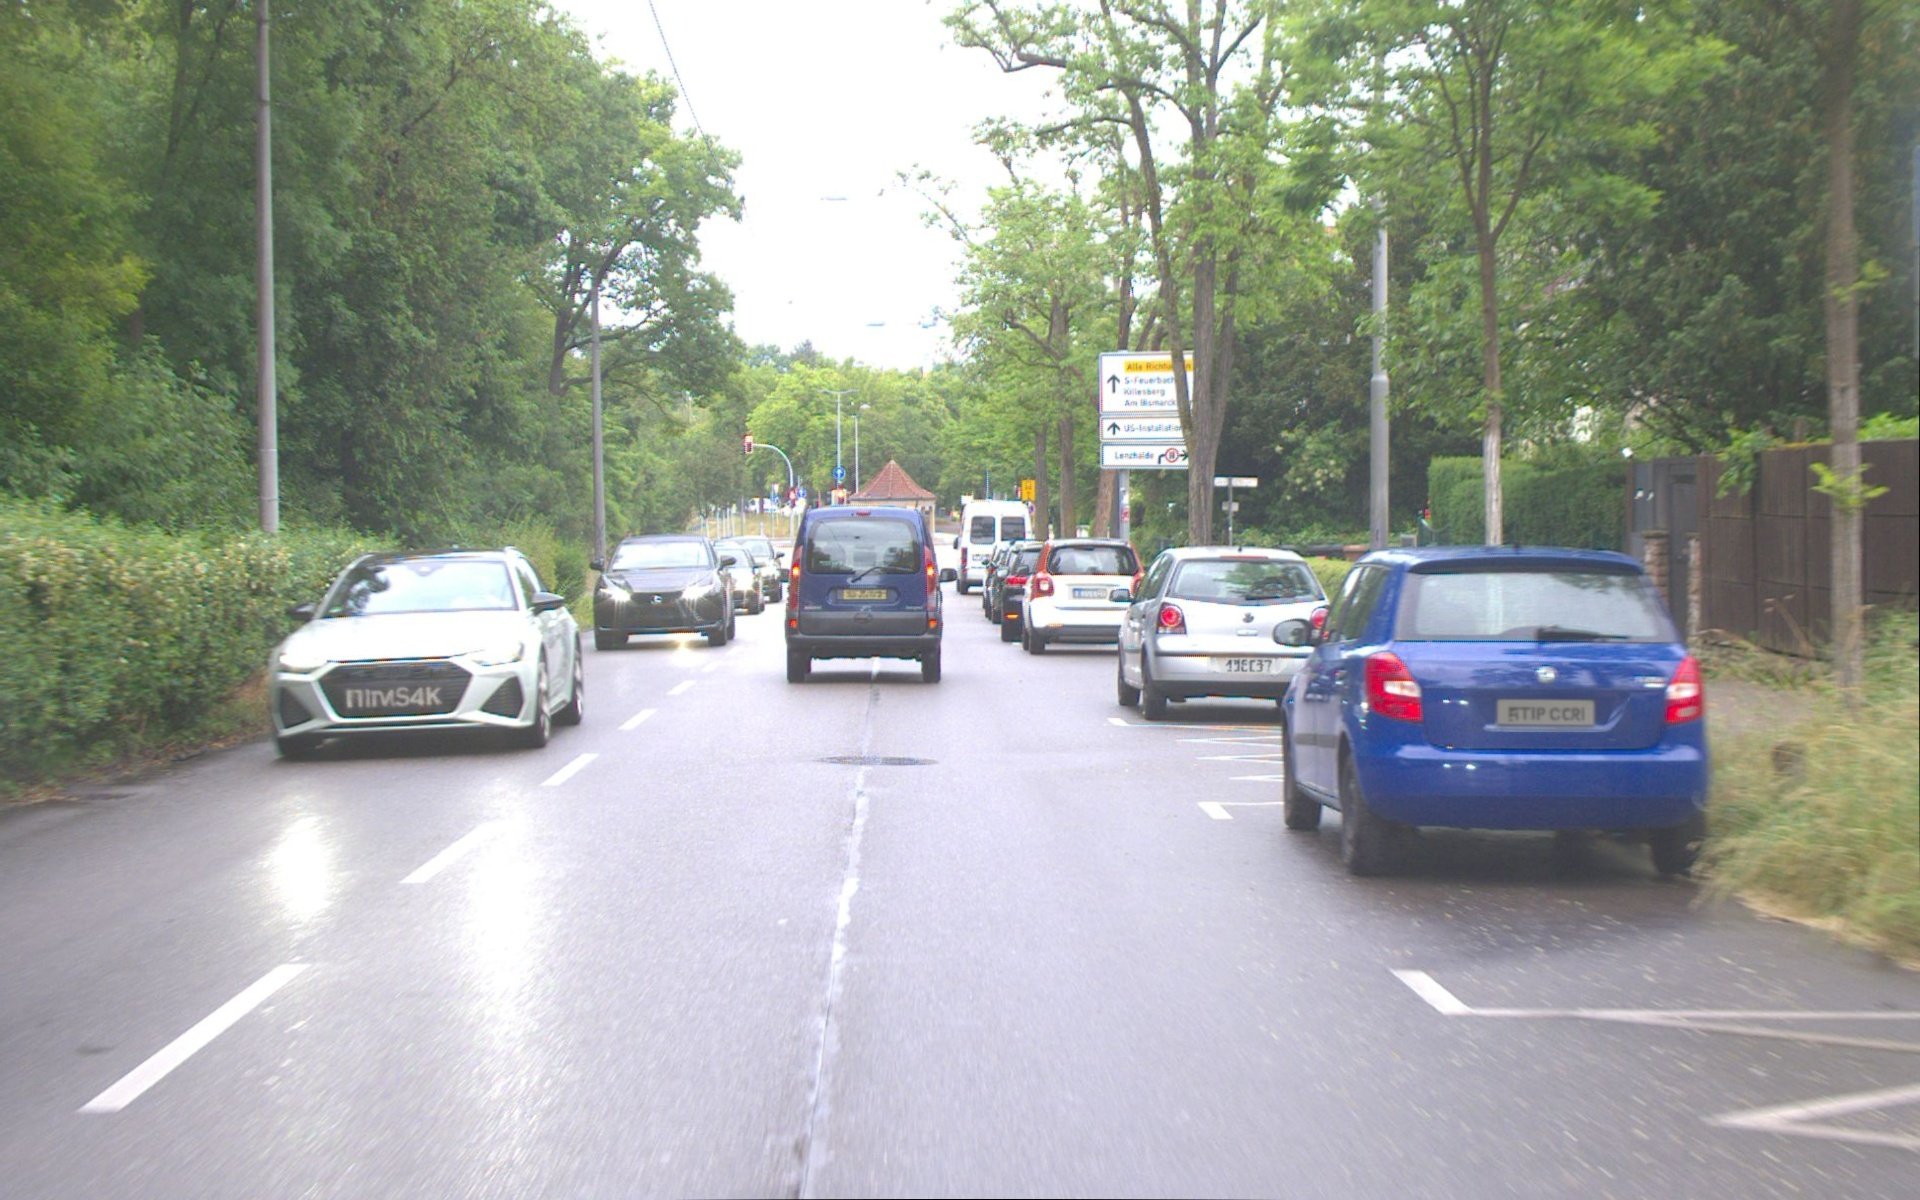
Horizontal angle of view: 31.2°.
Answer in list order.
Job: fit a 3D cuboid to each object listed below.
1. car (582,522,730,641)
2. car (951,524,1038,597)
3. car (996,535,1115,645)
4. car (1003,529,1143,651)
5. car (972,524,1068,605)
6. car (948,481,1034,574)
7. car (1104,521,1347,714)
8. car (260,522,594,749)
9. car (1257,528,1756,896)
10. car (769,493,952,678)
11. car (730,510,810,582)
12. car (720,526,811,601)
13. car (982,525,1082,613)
[{"bbox_3d":[-4.391,-0.309,50.183,1.804,1.541,4.432,-2,2,-1],"label":"car"},{"bbox_3d":[0.734,-0.885,75.216,1.698,1.519,3.868,1,1,-2],"label":"car"},{"bbox_3d":[1.436,-0.181,51.891,1.698,1.519,3.868,1,2,1],"label":"car"},{"bbox_3d":[1.485,-0.160,46.226,1.632,1.504,2.958,1,2,-2],"label":"car"},{"bbox_3d":[1.168,-0.733,68.713,1.698,1.519,3.868,1,1,-2],"label":"car"},{"bbox_3d":[0.805,-1.972,93.668,2.205,2.441,4.730,0,1,-1],"label":"car"},{"bbox_3d":[2.249,0.102,29.980,1.618,1.503,3.835,1,2,-3],"label":"car"},{"bbox_3d":[-3.991,0.201,26.456,1.856,1.463,4.447,-3,2,0],"label":"car"},{"bbox_3d":[2.528,0.440,16.825,1.721,1.500,4.051,1,2,-1],"label":"car"},{"bbox_3d":[-1.107,-0.201,36.539,1.766,1.824,3.543,1,2,-4],"label":"car"},{"bbox_3d":[-4.573,-1.328,83.110,1.723,1.610,4.155,-1,2,-1],"label":"car"},{"bbox_3d":[-4.094,-0.802,72.947,1.728,1.437,5.113,-2,2,-1],"label":"car"},{"bbox_3d":[1.297,-0.594,63.411,1.698,1.519,4.211,1,1,0],"label":"car"}]
